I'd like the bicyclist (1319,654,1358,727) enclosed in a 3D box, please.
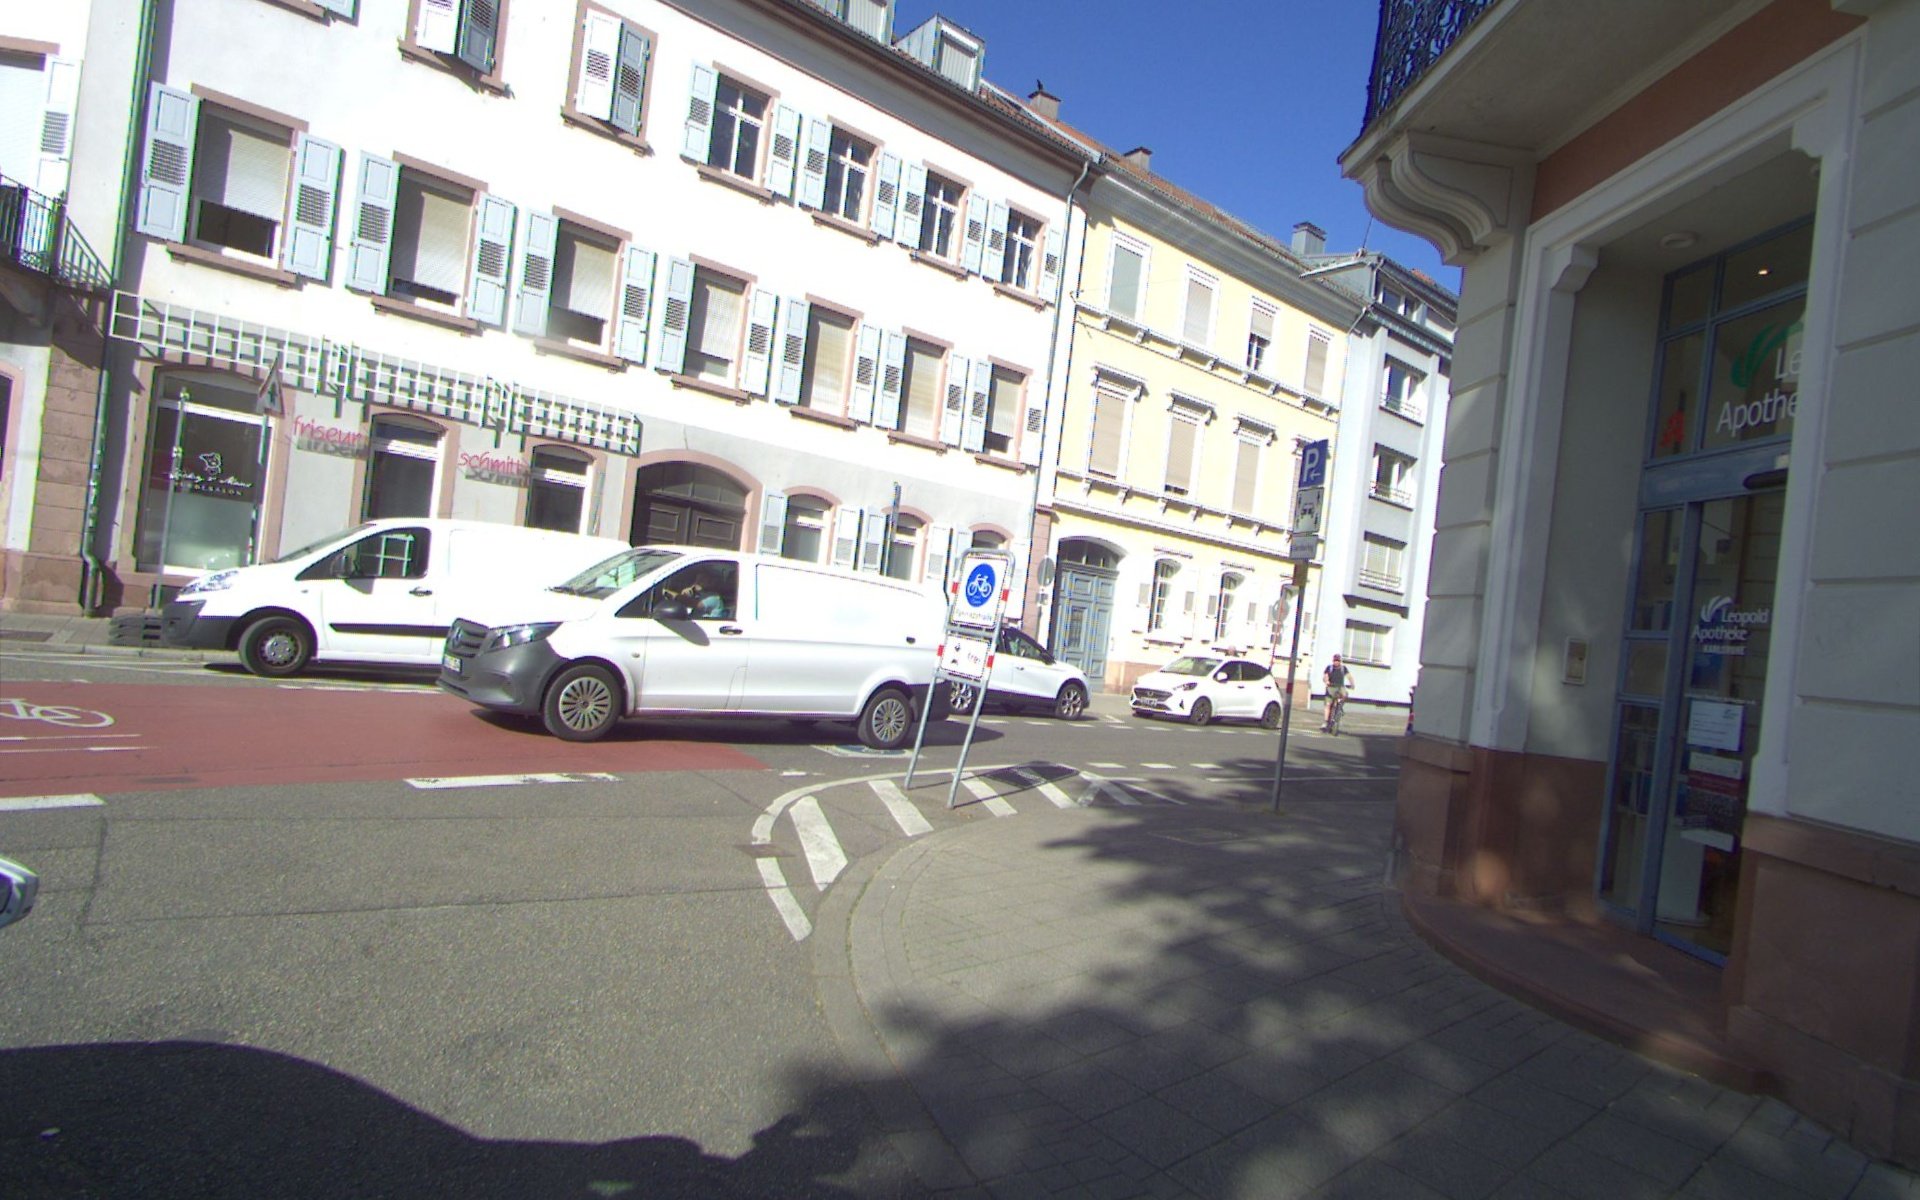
[{"bbox_3d":[8.602,2.043,22.895,0.626,1.565,1.025,7,-1,19],"label":"bicyclist"}]

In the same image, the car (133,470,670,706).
[{"bbox_3d":[-6.263,-0.006,11.787,4.981,1.969,2.032,8,-1,-35],"label":"car"}]

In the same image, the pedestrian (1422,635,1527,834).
[{"bbox_3d":[4.928,1.269,9.679,0.816,1.783,0.752,2,-5,25],"label":"pedestrian"}]

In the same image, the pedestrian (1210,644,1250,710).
[{"bbox_3d":[7.076,2.022,26.411,0.633,1.620,0.579,7,0,-34],"label":"pedestrian"}]

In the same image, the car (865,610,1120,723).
[{"bbox_3d":[0.661,1.209,17.725,4.347,1.559,1.630,8,-3,-38],"label":"car"}]

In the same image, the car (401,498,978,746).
[{"bbox_3d":[-2.547,0.375,10.605,5.390,1.930,2.083,8,-2,-43],"label":"car"}]

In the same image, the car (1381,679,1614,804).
[{"bbox_3d":[8.333,2.152,15.511,3.608,1.452,1.689,7,2,-38],"label":"car"}]

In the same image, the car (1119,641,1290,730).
[{"bbox_3d":[5.322,1.868,21.735,3.610,1.559,1.616,8,-3,-38],"label":"car"}]

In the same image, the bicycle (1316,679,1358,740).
[{"bbox_3d":[8.549,2.455,22.876,0.660,1.213,1.927,7,-1,18],"label":"bicycle"}]
